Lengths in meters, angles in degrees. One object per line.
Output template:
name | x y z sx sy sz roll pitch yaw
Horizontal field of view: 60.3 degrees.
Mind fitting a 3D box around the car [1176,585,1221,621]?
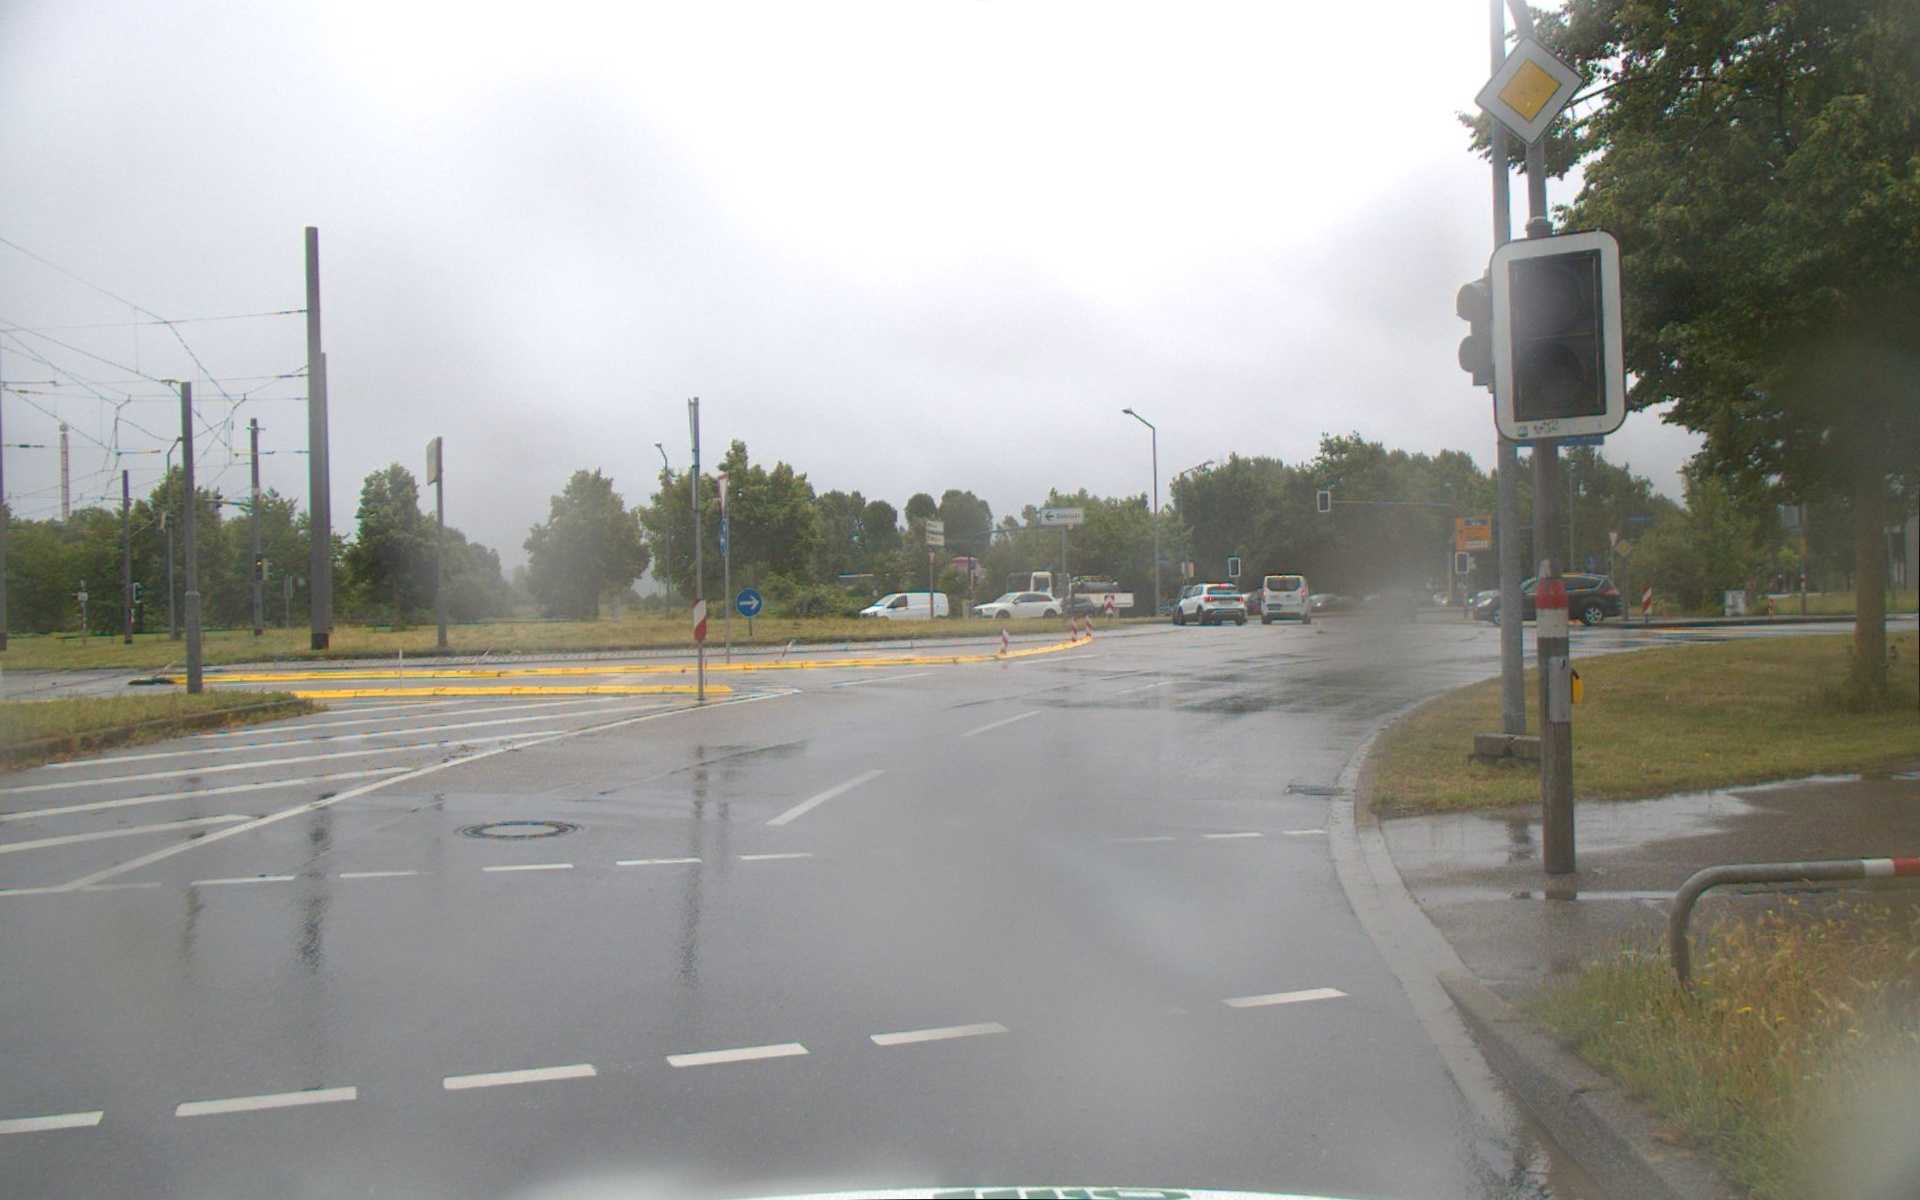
car | 10.459 0.159 72.412 1.653 1.518 3.253 1 0 13

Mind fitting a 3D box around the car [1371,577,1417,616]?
car | 17.924 -0.155 68.391 1.652 1.518 3.254 -1 0 12

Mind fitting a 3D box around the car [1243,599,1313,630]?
car | 18.855 0.862 97.922 1.747 1.774 4.835 1 0 43

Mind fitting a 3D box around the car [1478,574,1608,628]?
car | 19.034 0.024 54.144 3.903 1.676 1.790 1 0 17

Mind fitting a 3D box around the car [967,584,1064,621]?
car | 2.818 0.155 83.815 4.806 1.774 1.757 1 0 -34

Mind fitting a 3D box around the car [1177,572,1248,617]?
car | 9.752 -0.212 64.211 1.649 1.676 3.939 1 0 -8

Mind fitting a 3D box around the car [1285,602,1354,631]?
car | 23.011 1.076 105.735 4.821 1.774 1.752 1 0 -41

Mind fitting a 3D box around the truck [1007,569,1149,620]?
truck | 6.867 -0.309 95.643 8.680 2.759 1.979 1 -1 -31

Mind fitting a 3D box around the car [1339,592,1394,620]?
car | 27.557 0.422 112.113 1.965 1.780 3.975 1 0 42

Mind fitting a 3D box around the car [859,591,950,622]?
car | -2.820 0.324 85.077 4.488 1.518 1.594 1 0 -31

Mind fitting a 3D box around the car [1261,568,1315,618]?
car | 14.061 -0.272 70.758 1.746 2.072 4.001 1 0 19
